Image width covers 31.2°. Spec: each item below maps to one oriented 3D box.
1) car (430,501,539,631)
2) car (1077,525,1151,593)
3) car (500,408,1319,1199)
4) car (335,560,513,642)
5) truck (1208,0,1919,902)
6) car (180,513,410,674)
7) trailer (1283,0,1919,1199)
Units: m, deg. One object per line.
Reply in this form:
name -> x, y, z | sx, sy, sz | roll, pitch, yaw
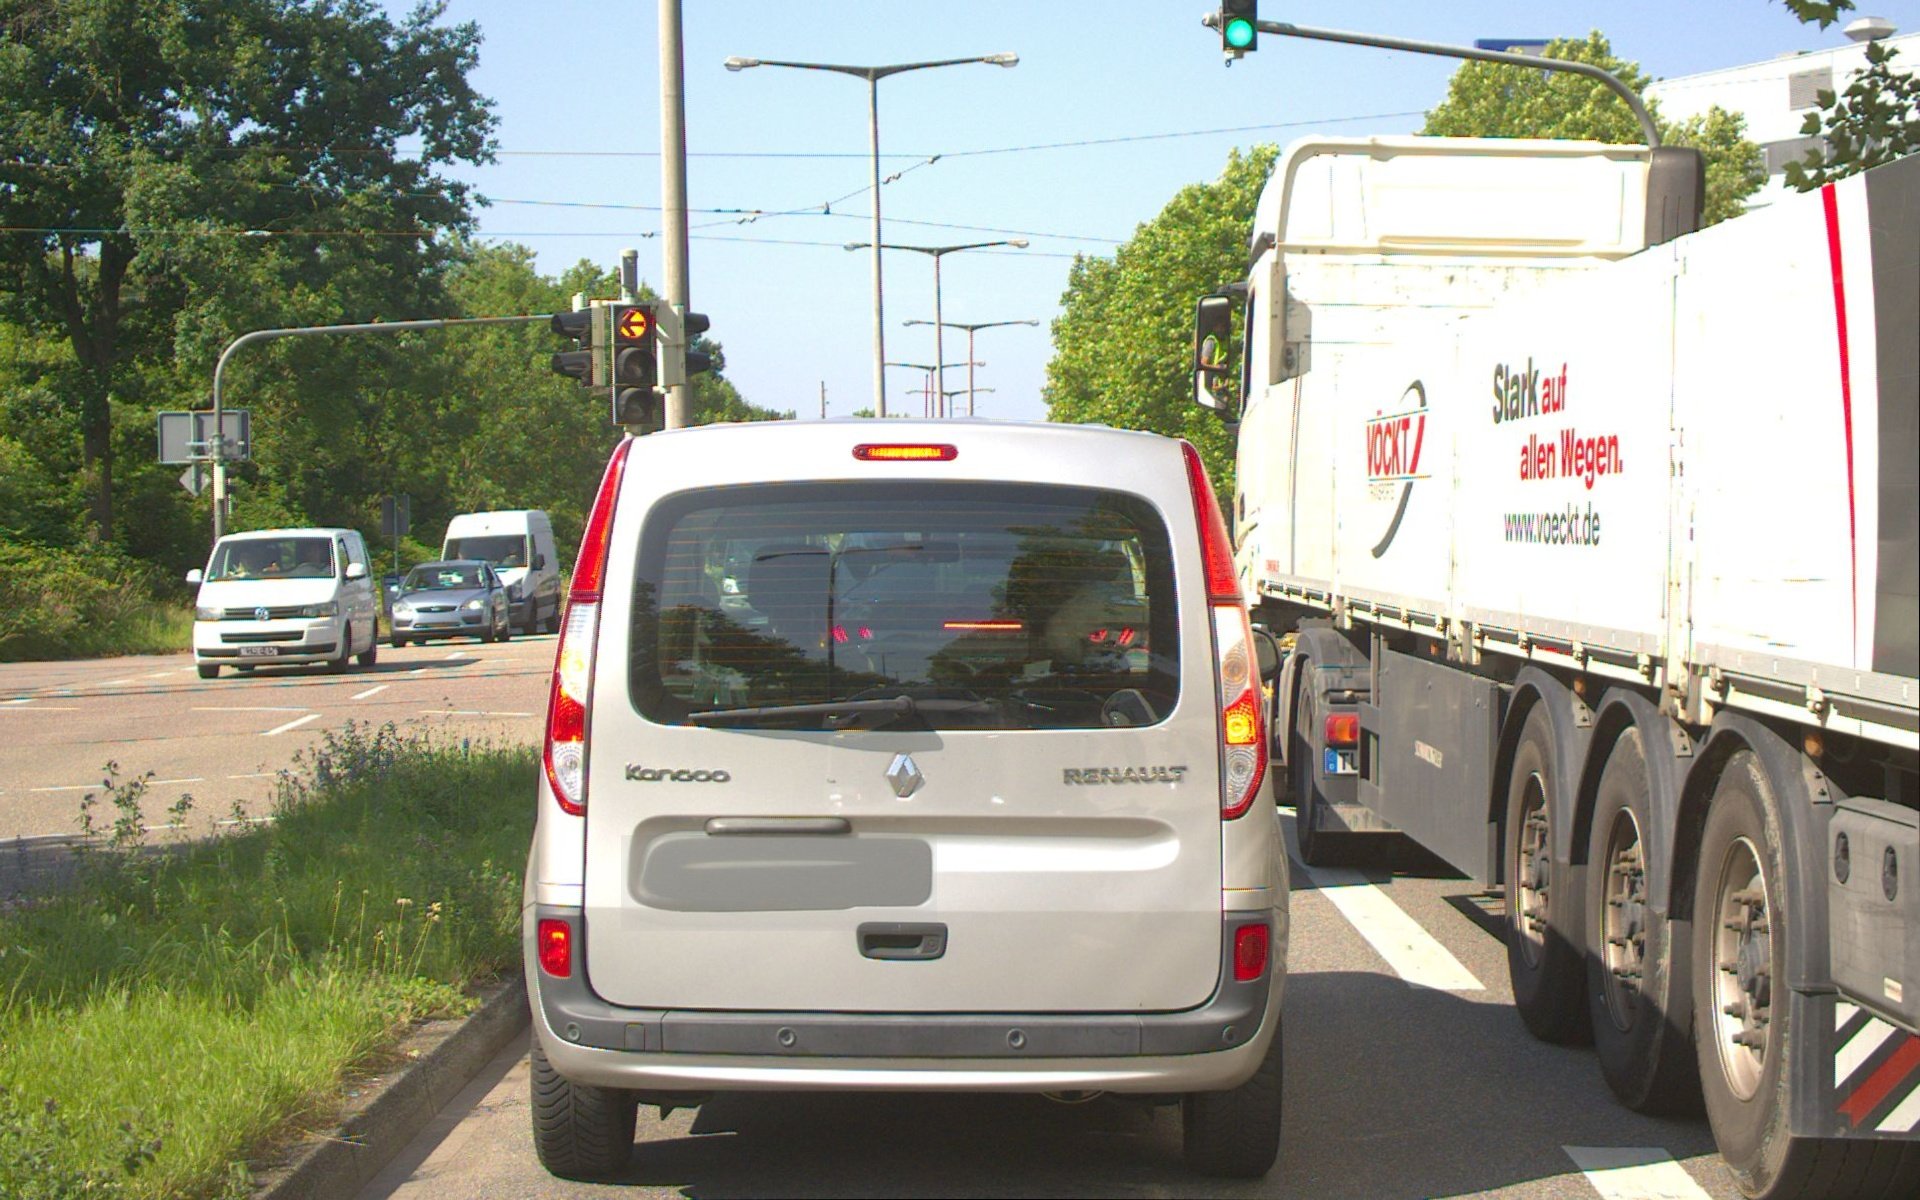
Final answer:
car -> -9.931, -0.723, 72.218 | 2.058, 2.605, 5.871 | 0, 1, -6
car -> 4.609, -1.229, 103.422 | 1.993, 2.007, 4.000 | 0, 1, -1
car -> -0.116, 0.448, 9.326 | 1.749, 1.766, 3.949 | 0, 1, 0
car -> -9.520, -0.010, 60.842 | 1.911, 1.404, 4.228 | 0, 1, -27
truck -> 3.110, -0.708, 17.521 | 3.071, 3.745, 7.476 | 0, 1, -1
car -> -8.604, -0.113, 44.895 | 1.993, 1.884, 4.988 | -3, 1, -1
trailer -> 3.031, -0.719, 10.570 | 3.016, 3.728, 12.240 | 0, 1, 0
